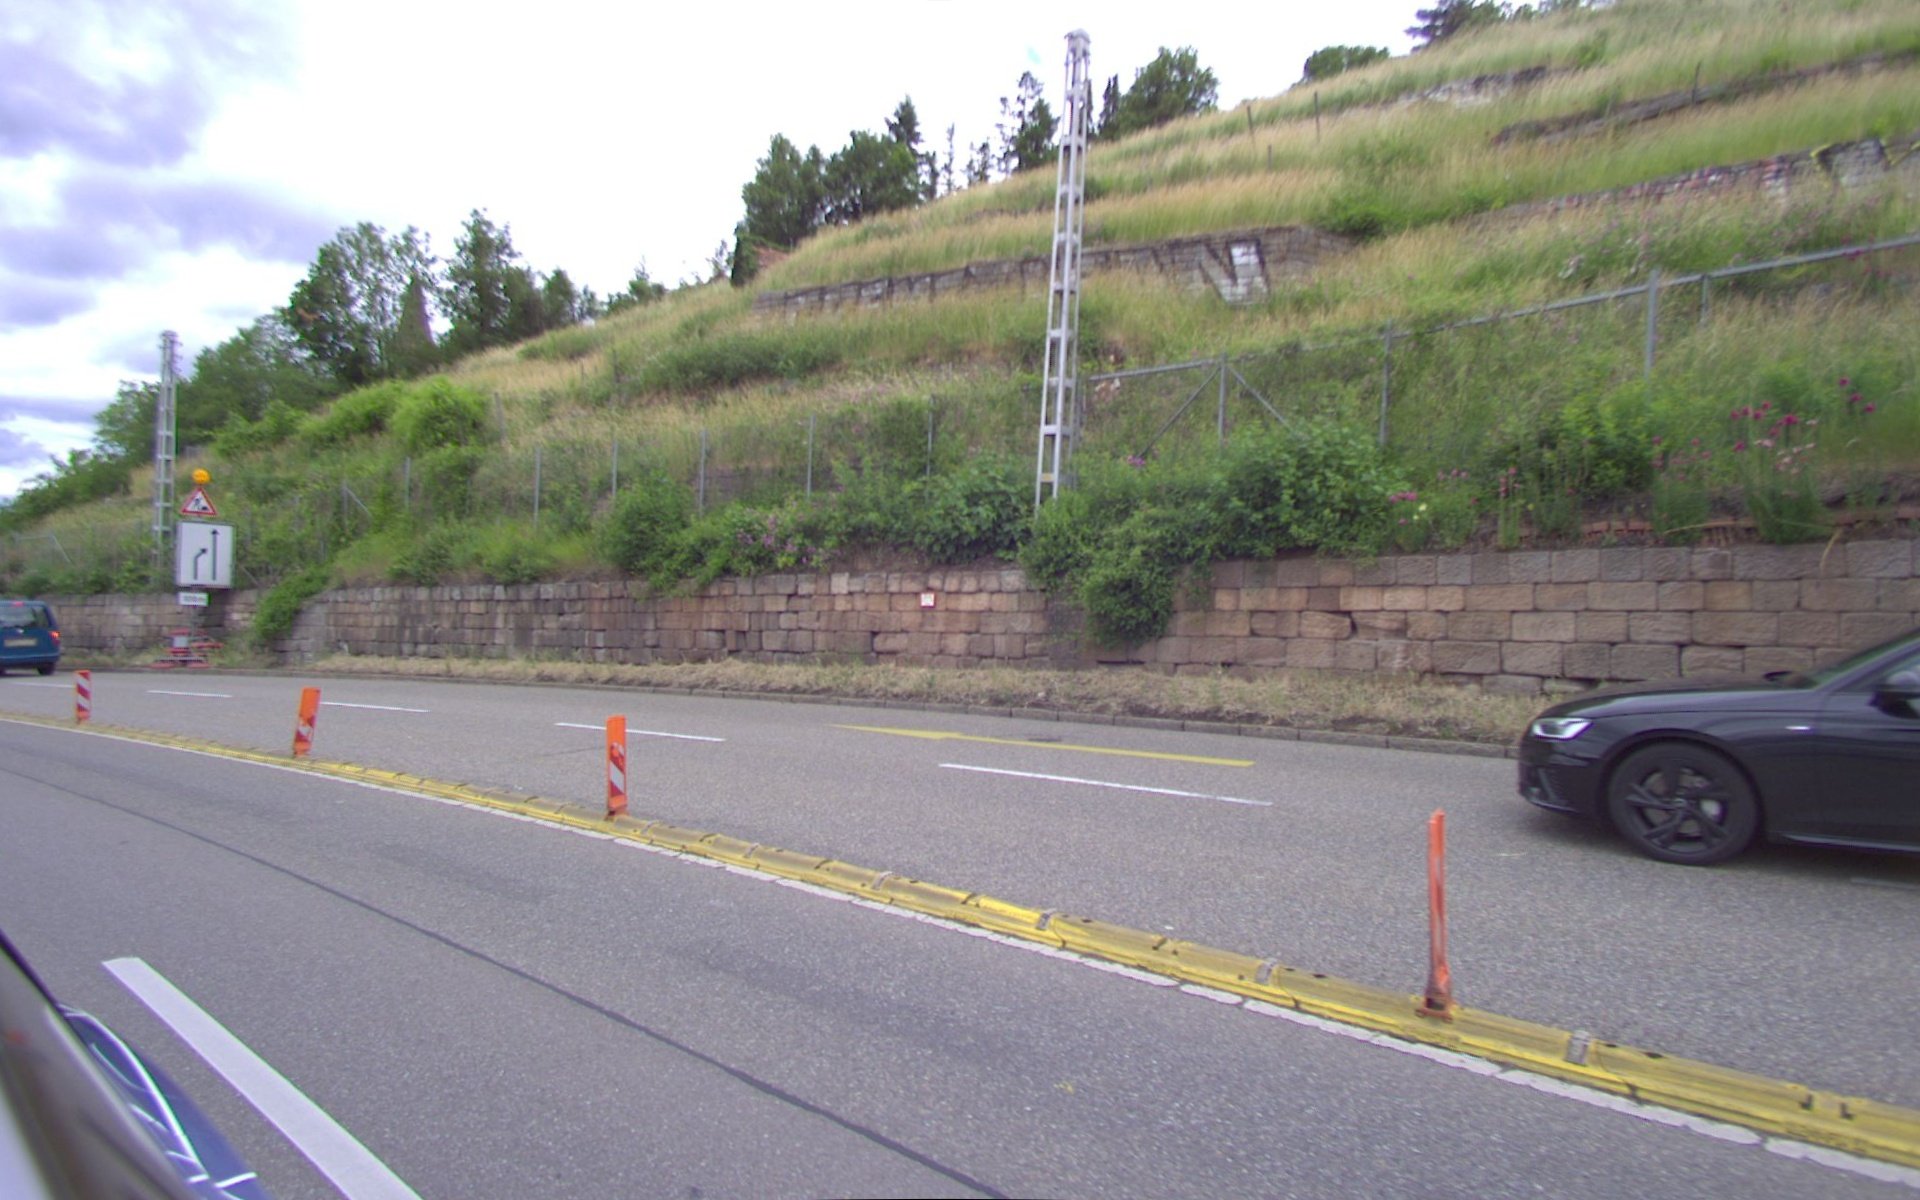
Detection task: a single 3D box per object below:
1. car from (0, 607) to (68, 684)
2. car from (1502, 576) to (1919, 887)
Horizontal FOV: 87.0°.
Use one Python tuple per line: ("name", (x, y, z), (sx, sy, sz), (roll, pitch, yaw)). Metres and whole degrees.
("car", (-24.470, 1.126, 25.204), (4.711, 1.795, 1.839), (-1, 0, 28))
("car", (5.380, 0.588, 5.045), (4.414, 1.424, 1.831), (-1, 1, 42))
